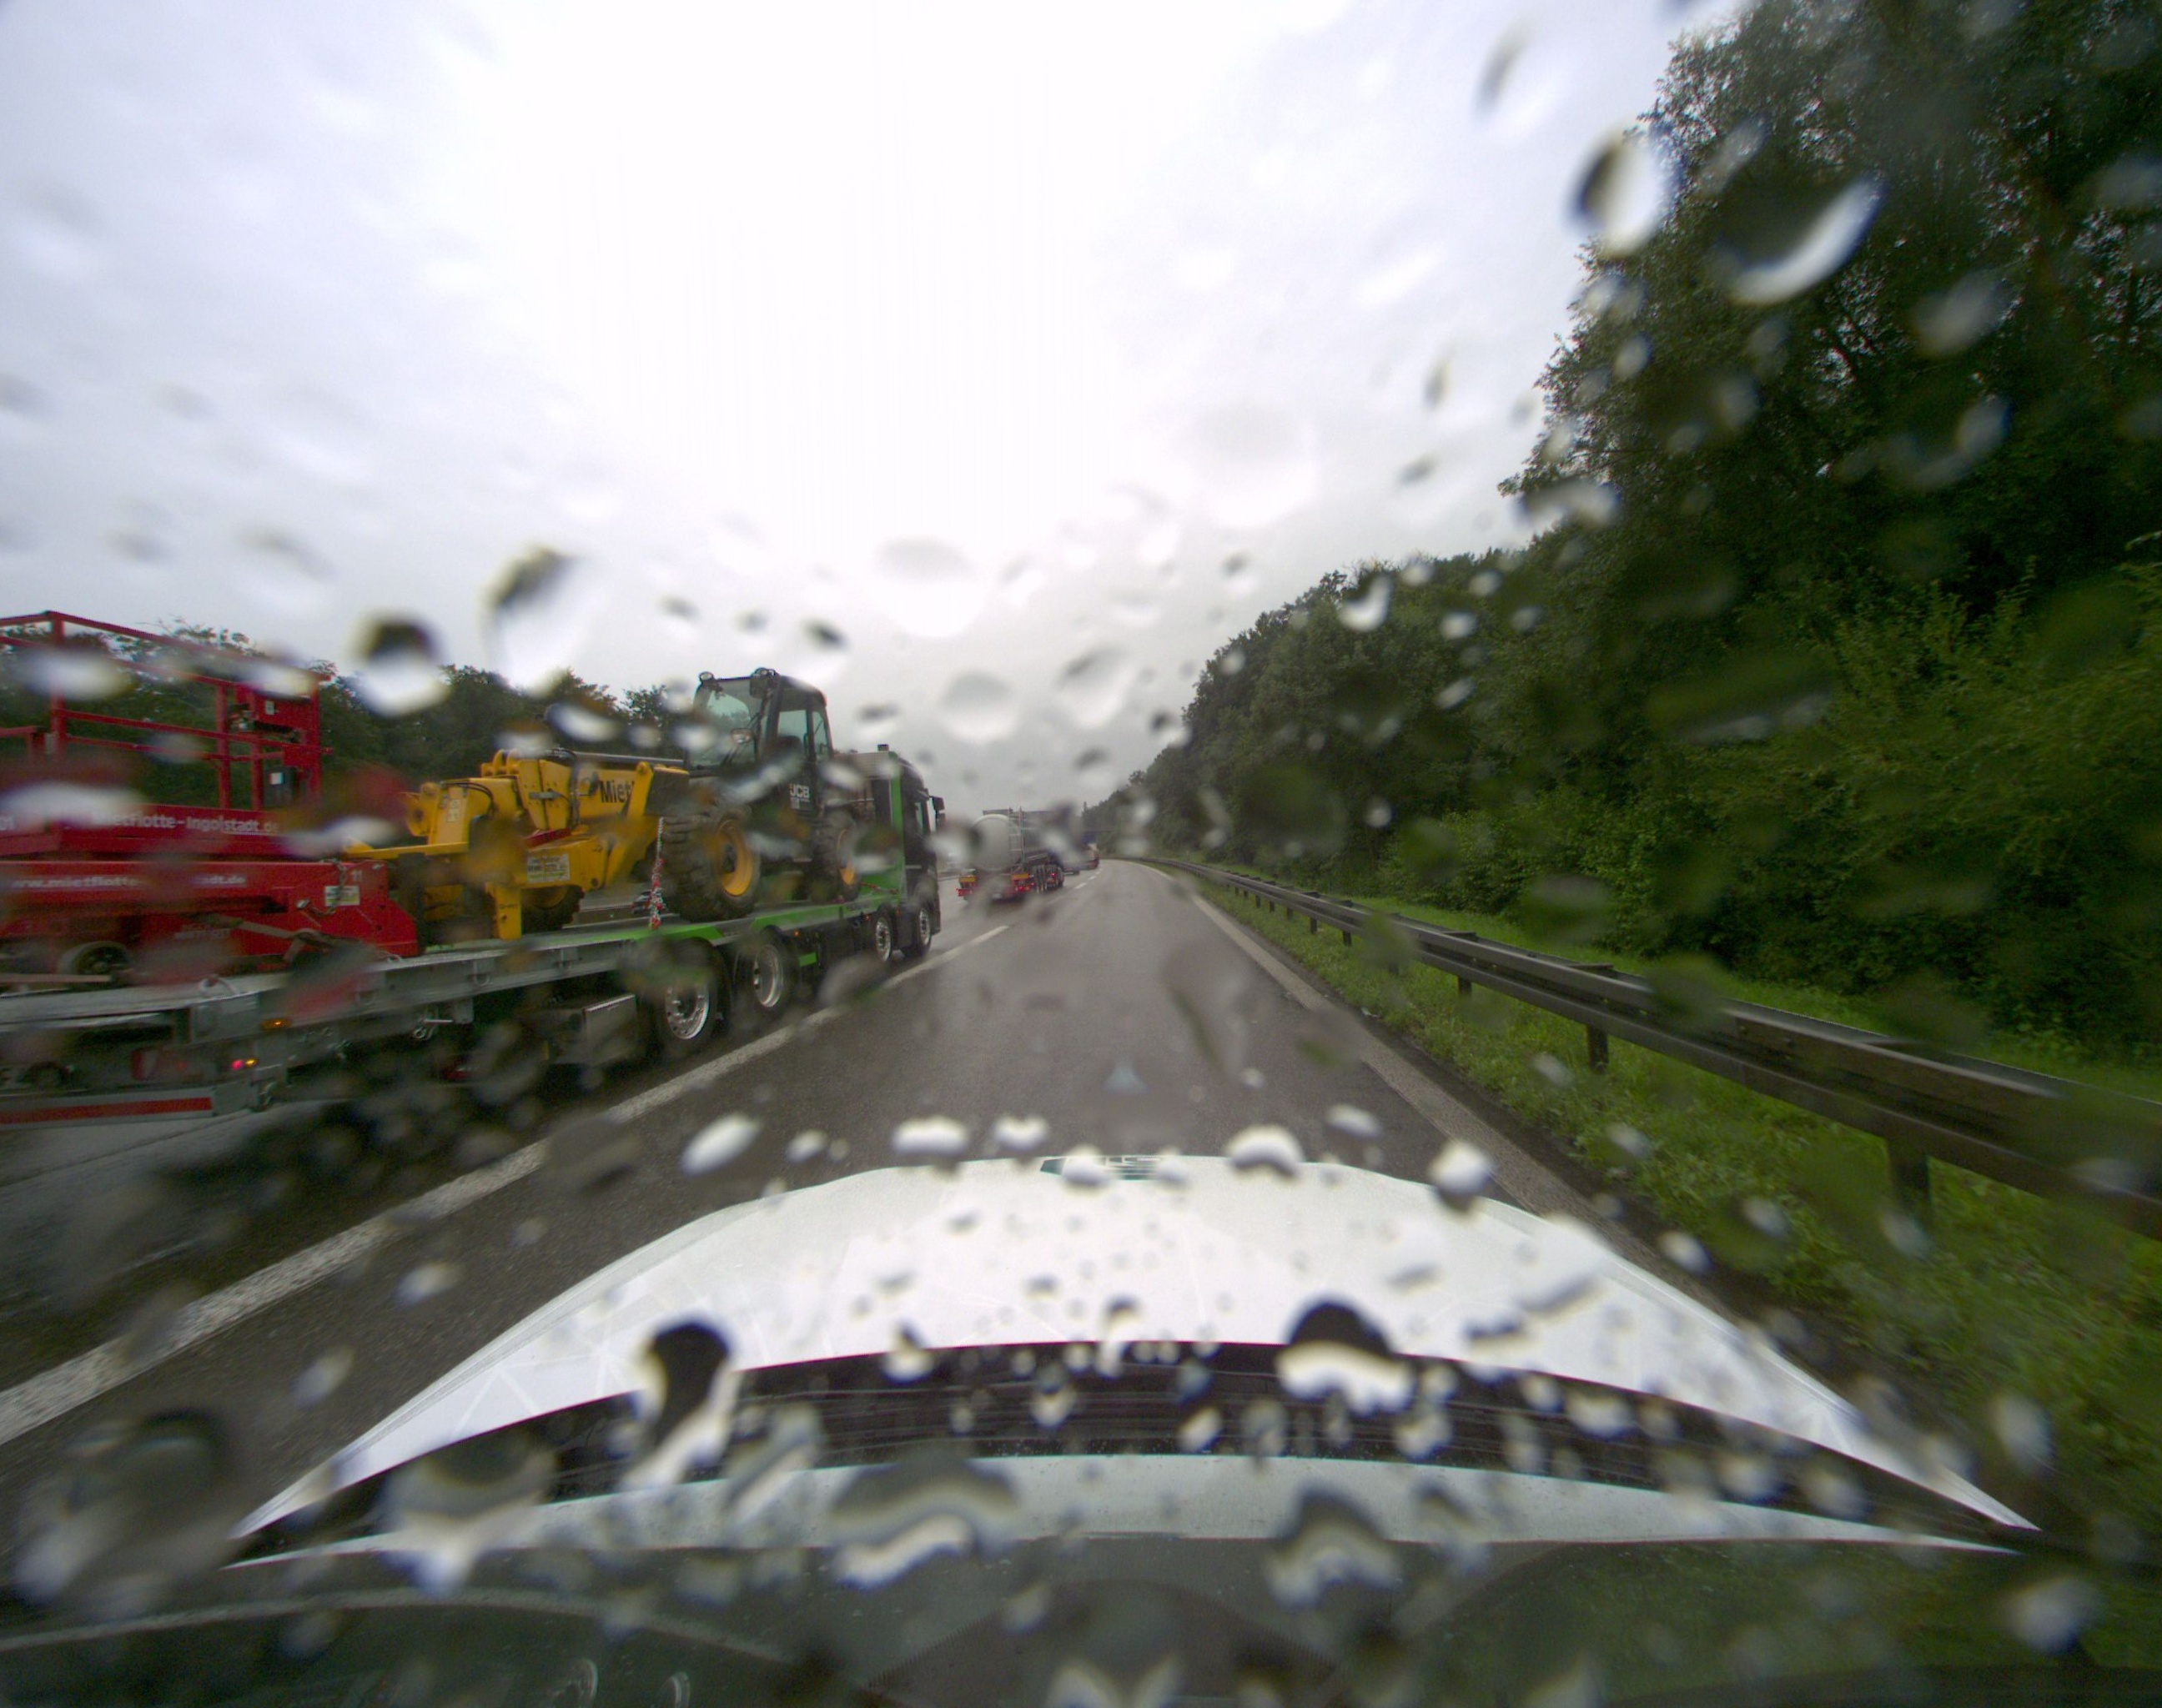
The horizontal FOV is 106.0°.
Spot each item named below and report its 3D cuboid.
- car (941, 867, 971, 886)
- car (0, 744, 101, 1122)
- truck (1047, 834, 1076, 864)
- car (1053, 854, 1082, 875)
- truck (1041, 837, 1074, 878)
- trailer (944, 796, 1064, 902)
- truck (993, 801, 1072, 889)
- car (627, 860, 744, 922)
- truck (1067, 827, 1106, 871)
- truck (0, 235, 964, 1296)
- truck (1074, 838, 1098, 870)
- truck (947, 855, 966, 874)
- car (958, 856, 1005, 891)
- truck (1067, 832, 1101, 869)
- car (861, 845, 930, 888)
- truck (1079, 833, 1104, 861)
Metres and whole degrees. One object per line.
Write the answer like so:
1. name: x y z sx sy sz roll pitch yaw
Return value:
1. car: -12.349 2.225 80.717 1.985 1.772 4.138 -3 -1 3
2. car: -8.901 0.593 3.366 2.204 2.629 5.854 -4 -1 6
3. truck: -2.938 -0.675 129.258 3.562 4.095 10.887 -3 -2 3
4. car: -1.044 0.853 64.861 1.985 1.636 4.002 0 -2 2
5. truck: -3.125 0.606 114.059 3.738 5.500 10.180 0 -2 3
6. trailer: -2.633 -0.175 31.736 2.861 3.288 10.088 -4 0 4
7. truck: -2.188 -0.418 38.419 2.864 3.693 5.062 -4 0 4
8. car: -13.717 1.269 28.551 1.788 2.014 4.006 0 -2 6
9. truck: 0.668 -0.477 86.359 3.587 4.105 11.563 -4 0 1
10. truck: -4.160 -0.205 8.743 2.817 3.588 11.814 -4 -1 5
11. truck: 0.945 0.088 150.447 4.321 5.764 9.730 0 -2 1
12. truck: -27.587 2.241 180.368 2.440 3.948 7.245 -3 0 3
13. car: -5.451 1.022 45.204 1.811 1.767 4.004 -3 0 4
14. truck: 0.455 -0.307 102.326 3.491 4.268 10.613 0 -2 4
15. car: -8.631 0.557 38.252 1.985 1.798 4.157 -4 0 3
16. truck: 1.650 -1.063 128.639 3.742 3.971 11.058 0 -2 1
